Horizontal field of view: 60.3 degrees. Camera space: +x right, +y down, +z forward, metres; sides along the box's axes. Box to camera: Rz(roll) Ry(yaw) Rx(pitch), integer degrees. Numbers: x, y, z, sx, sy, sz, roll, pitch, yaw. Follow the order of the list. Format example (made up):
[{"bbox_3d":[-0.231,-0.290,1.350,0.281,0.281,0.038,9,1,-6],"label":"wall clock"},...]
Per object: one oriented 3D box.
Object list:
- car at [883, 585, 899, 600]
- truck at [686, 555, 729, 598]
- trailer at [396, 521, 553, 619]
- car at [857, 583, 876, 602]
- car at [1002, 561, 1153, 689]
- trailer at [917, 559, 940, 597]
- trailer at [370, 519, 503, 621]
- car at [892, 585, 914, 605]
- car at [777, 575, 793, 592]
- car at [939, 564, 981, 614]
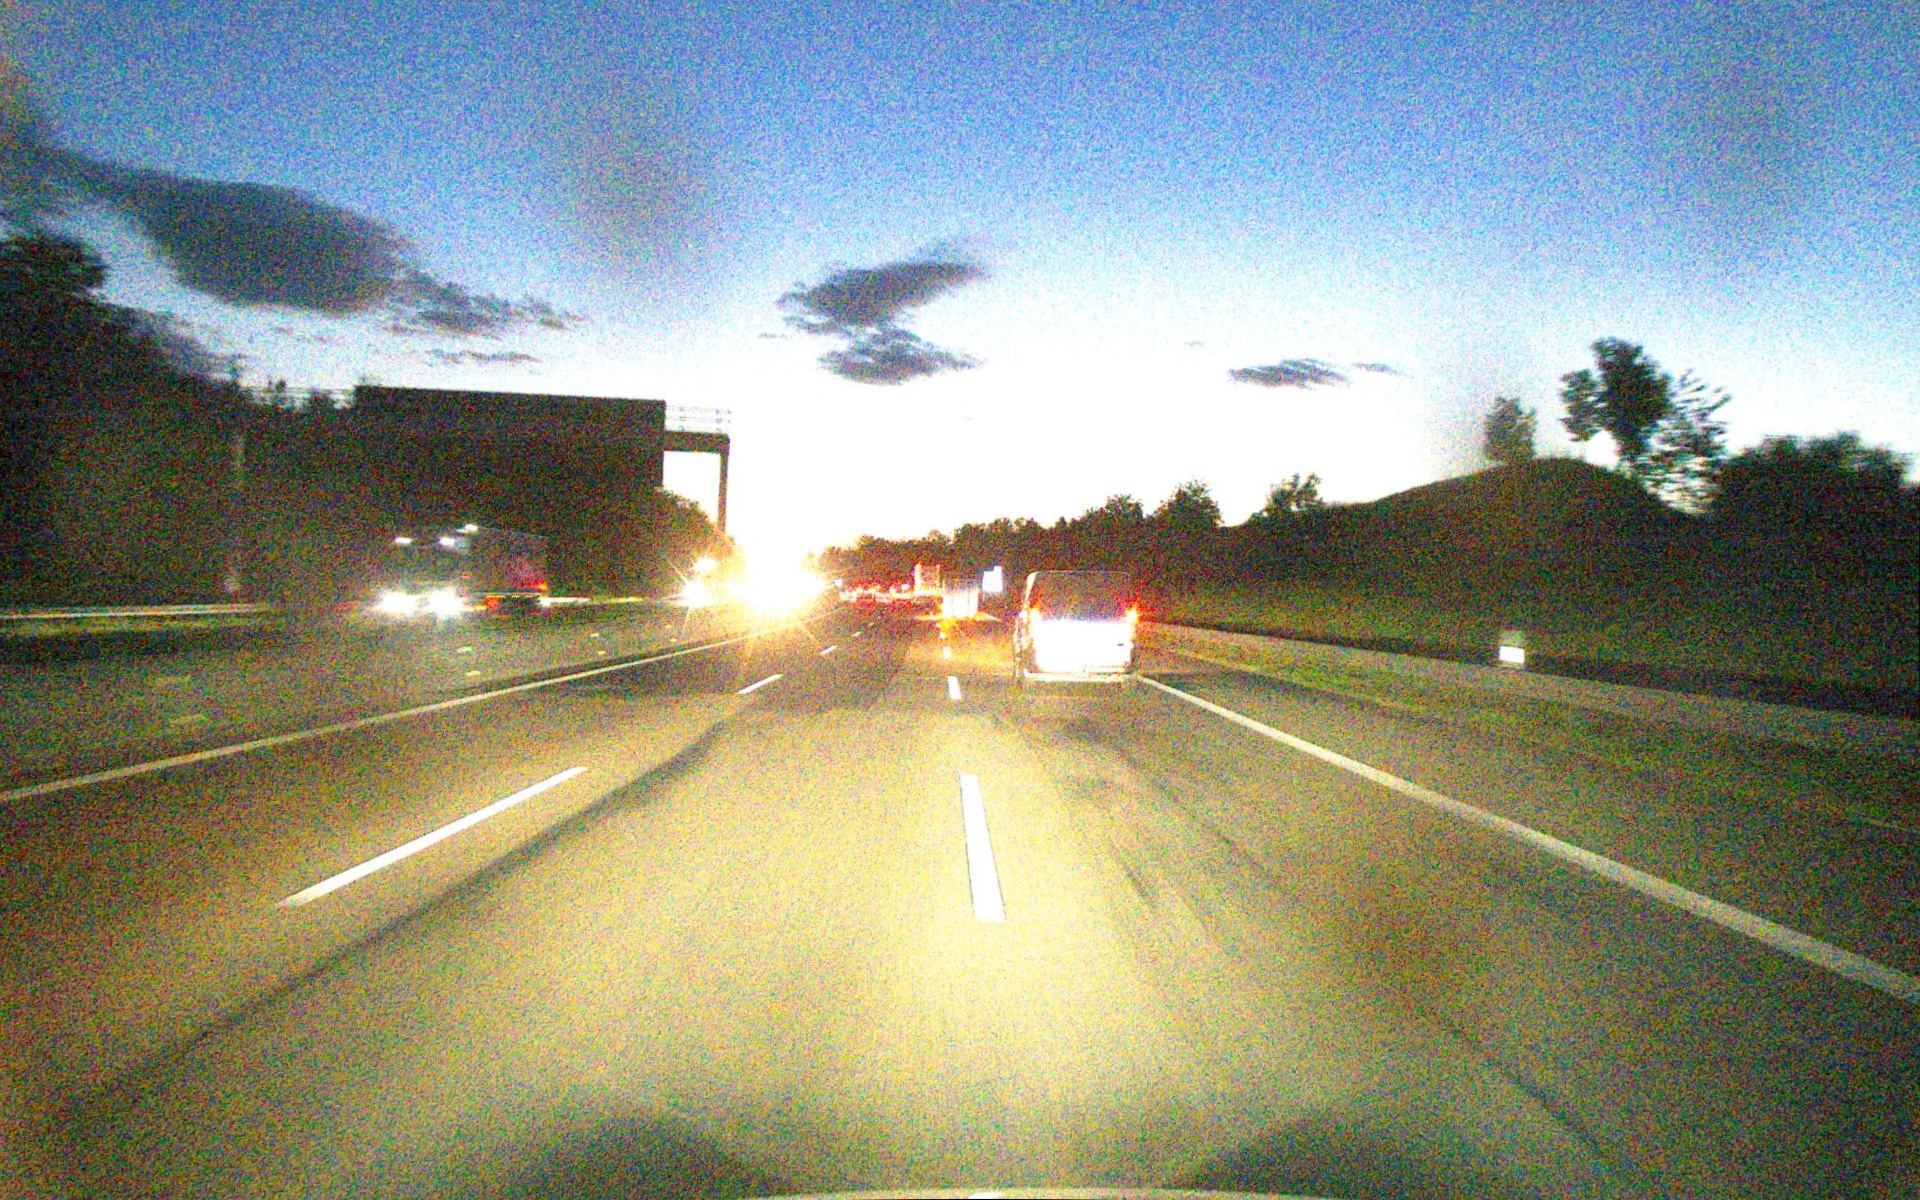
[{"bbox_3d":[-8.511,-0.905,204.174,1.954,1.825,3.997,1,-1,-3],"label":"car"},{"bbox_3d":[-24.549,-2.245,161.058,3.361,4.050,6.204,1,0,-2],"label":"truck"},{"bbox_3d":[-22.183,-1.303,76.690,3.360,4.050,14.045,1,0,-1],"label":"trailer"},{"bbox_3d":[-9.513,-0.717,168.339,1.954,1.848,3.997,1,-1,-3],"label":"car"},{"bbox_3d":[1.959,0.381,29.405,2.073,2.036,5.662,1,0,-2],"label":"car"},{"bbox_3d":[-4.180,-2.750,213.633,2.772,4.331,17.041,1,-1,-2],"label":"trailer"},{"bbox_3d":[-22.055,-1.216,70.180,3.360,4.050,7.351,1,0,-1],"label":"trailer"},{"bbox_3d":[-5.650,-0.507,163.057,1.955,1.825,3.995,1,-1,-5],"label":"car"},{"bbox_3d":[-26.459,-2.465,250.592,2.059,2.561,6.213,1,1,-3],"label":"car"},{"bbox_3d":[-0.045,-0.624,93.894,1.992,2.693,5.720,1,0,-4],"label":"car"}]
